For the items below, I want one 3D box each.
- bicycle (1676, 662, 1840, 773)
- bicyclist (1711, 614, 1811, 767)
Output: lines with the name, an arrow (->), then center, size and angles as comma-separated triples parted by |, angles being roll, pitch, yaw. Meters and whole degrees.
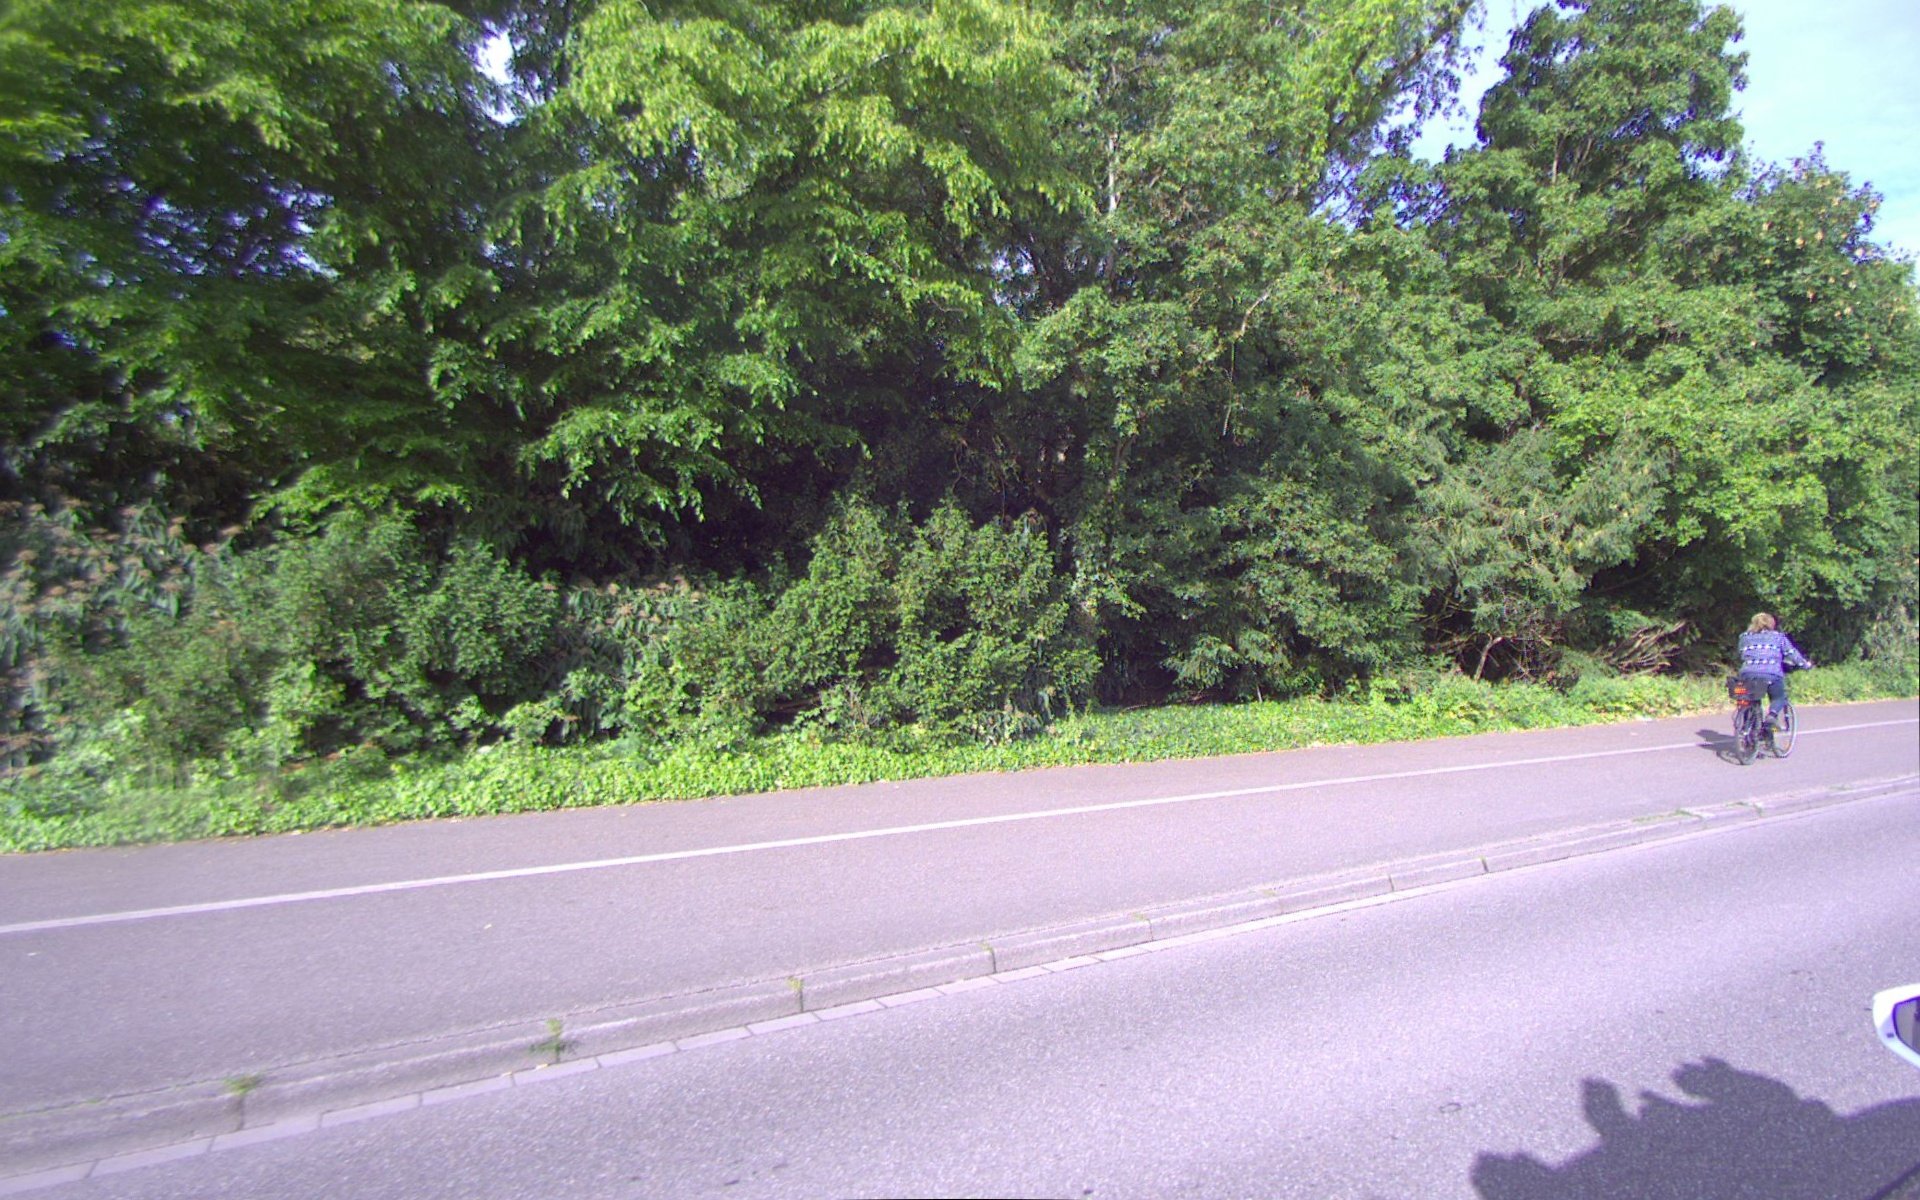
bicycle -> 9.267, 1.316, 11.640 | 2.320, 1.112, 0.659 | 0, -1, -29
bicyclist -> 9.311, 1.019, 11.678 | 0.873, 1.699, 0.606 | 0, -1, -29
